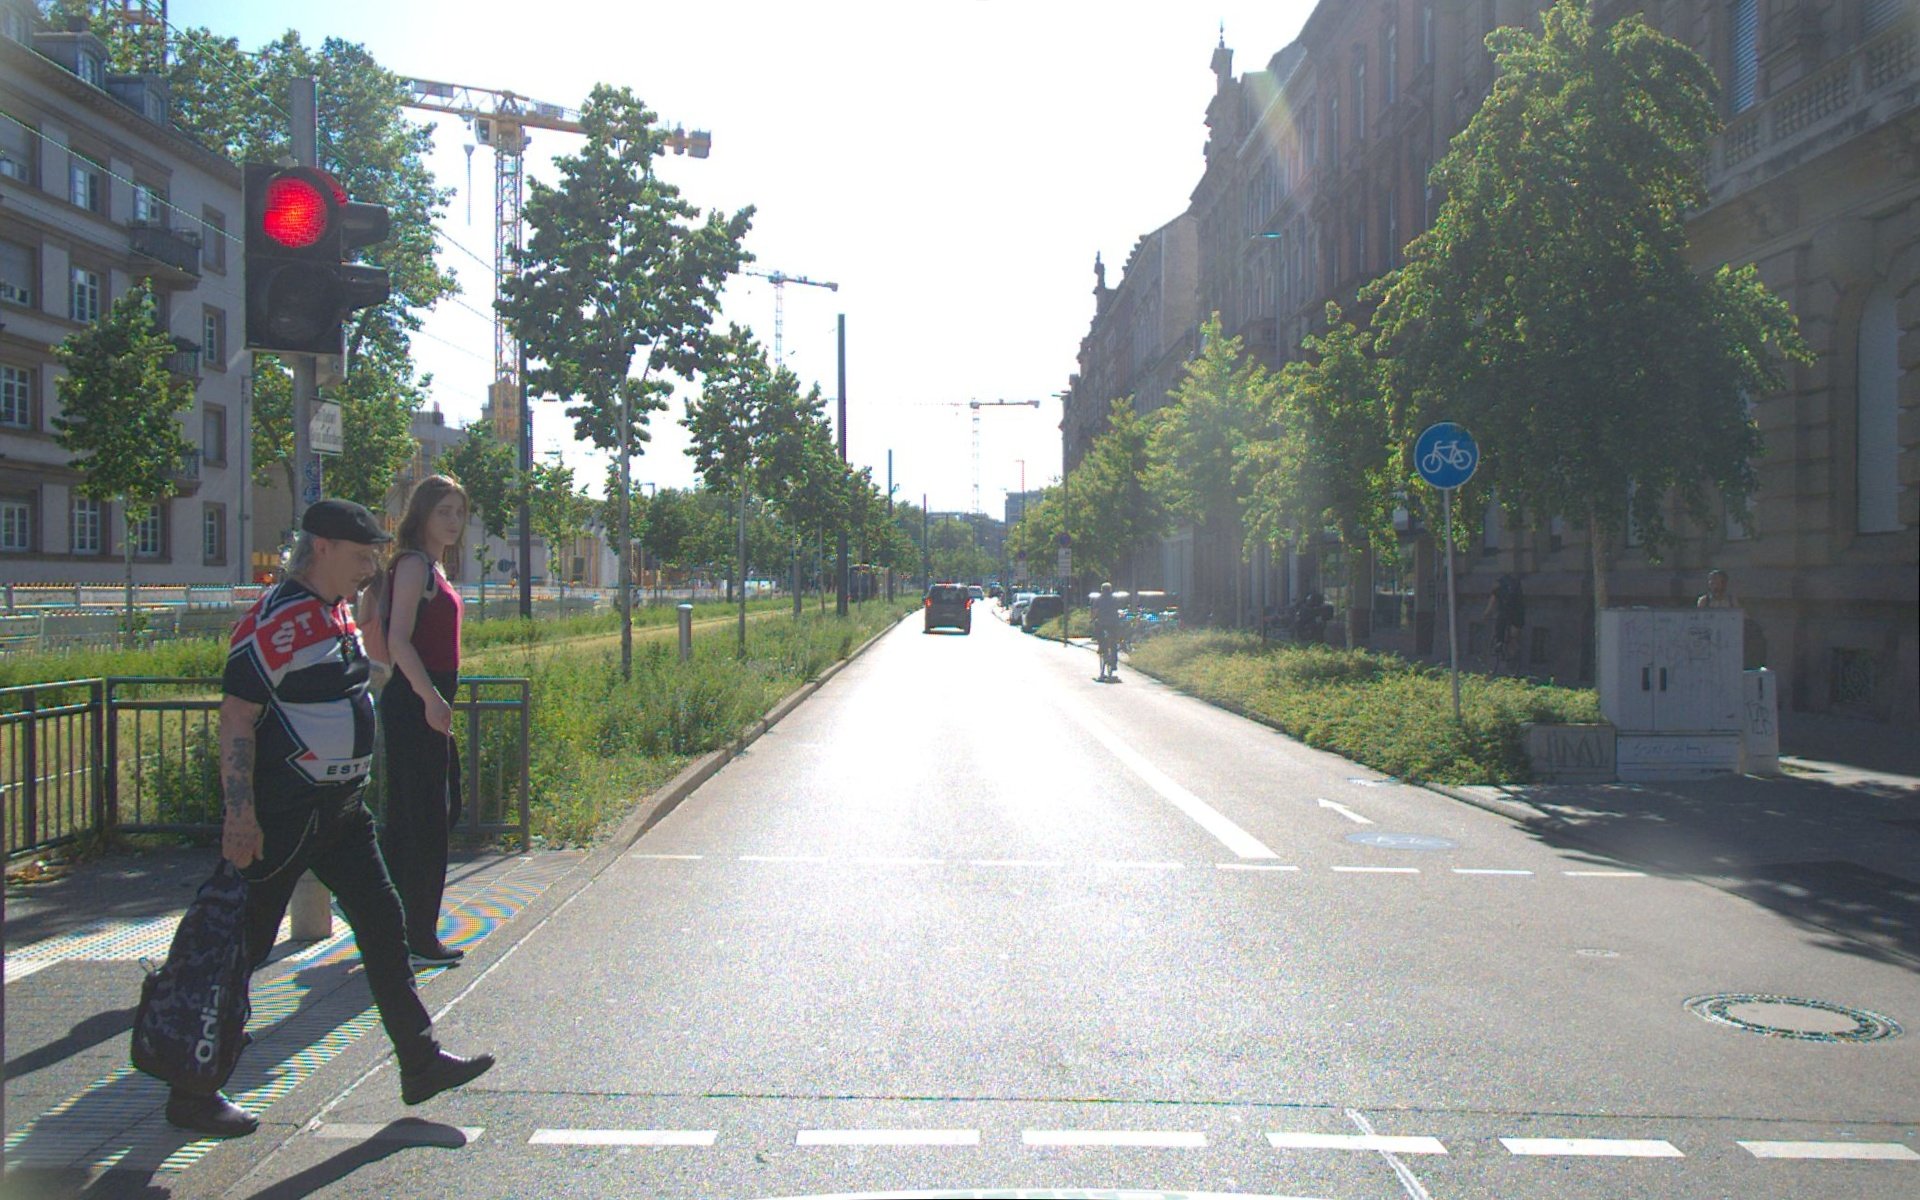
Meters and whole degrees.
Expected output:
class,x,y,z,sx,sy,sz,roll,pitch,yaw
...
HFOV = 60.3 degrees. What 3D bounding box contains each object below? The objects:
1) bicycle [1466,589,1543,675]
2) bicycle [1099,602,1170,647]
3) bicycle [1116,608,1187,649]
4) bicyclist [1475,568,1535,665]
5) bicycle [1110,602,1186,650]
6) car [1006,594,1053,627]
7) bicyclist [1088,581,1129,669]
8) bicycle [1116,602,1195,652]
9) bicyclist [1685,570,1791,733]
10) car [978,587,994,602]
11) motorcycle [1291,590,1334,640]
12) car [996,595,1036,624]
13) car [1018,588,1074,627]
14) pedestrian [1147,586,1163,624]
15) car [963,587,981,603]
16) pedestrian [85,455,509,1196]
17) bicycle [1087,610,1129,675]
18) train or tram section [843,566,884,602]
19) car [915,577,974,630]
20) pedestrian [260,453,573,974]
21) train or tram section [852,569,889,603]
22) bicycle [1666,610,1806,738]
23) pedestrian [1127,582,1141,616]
class,x,y,z,sx,sy,sz,roll,pitch,yaw
bicycle,9.208,0.517,28.021,0.603,1.353,1.900,-4,1,1
bicycle,4.630,0.656,43.970,1.756,1.048,0.527,-4,0,-1
bicycle,4.930,0.728,42.550,1.756,1.048,0.527,0,0,-1
bicyclist,9.182,0.271,27.899,0.647,1.556,0.801,-4,0,0
bicycle,4.663,0.642,41.026,1.756,1.048,0.527,-4,0,-1
car,3.339,0.462,79.809,1.987,1.525,4.529,0,0,-1
bicyclist,2.934,0.492,32.753,0.670,1.702,0.922,2,0,-2
bicycle,4.688,0.636,39.652,1.756,1.048,0.527,-4,0,-1
bicyclist,8.212,0.527,17.485,0.653,1.668,0.960,0,0,-1
car,3.475,-0.709,220.202,1.953,1.870,3.999,1,0,-1
motorcycle,9.434,0.377,44.287,0.686,1.289,1.981,0,1,-1
car,3.092,0.497,92.333,1.987,1.525,4.529,0,0,-1
car,3.470,0.280,67.440,1.987,1.525,4.653,0,0,-1
pedestrian,8.493,0.199,72.218,0.601,1.640,0.669,0,0,-1
car,1.399,-0.512,189.145,1.953,1.759,3.999,1,0,-1
pedestrian,-1.772,0.555,4.594,0.848,1.819,0.969,1,0,-7
bicycle,2.916,0.823,32.647,0.589,1.201,1.869,2,0,-1
train or tram section,-7.971,-1.249,137.862,2.699,2.790,9.863,1,0,0
car,-0.612,0.111,63.584,2.155,1.960,4.653,0,0,-1
pedestrian,-2.115,0.417,6.552,1.055,1.942,0.652,0,0,-7
train or tram section,-7.944,-1.204,147.709,2.699,2.790,9.863,1,0,0
bicycle,8.182,0.746,17.521,0.571,1.244,1.900,0,1,-1
pedestrian,8.638,-0.054,82.111,0.601,1.640,0.669,0,0,-1
